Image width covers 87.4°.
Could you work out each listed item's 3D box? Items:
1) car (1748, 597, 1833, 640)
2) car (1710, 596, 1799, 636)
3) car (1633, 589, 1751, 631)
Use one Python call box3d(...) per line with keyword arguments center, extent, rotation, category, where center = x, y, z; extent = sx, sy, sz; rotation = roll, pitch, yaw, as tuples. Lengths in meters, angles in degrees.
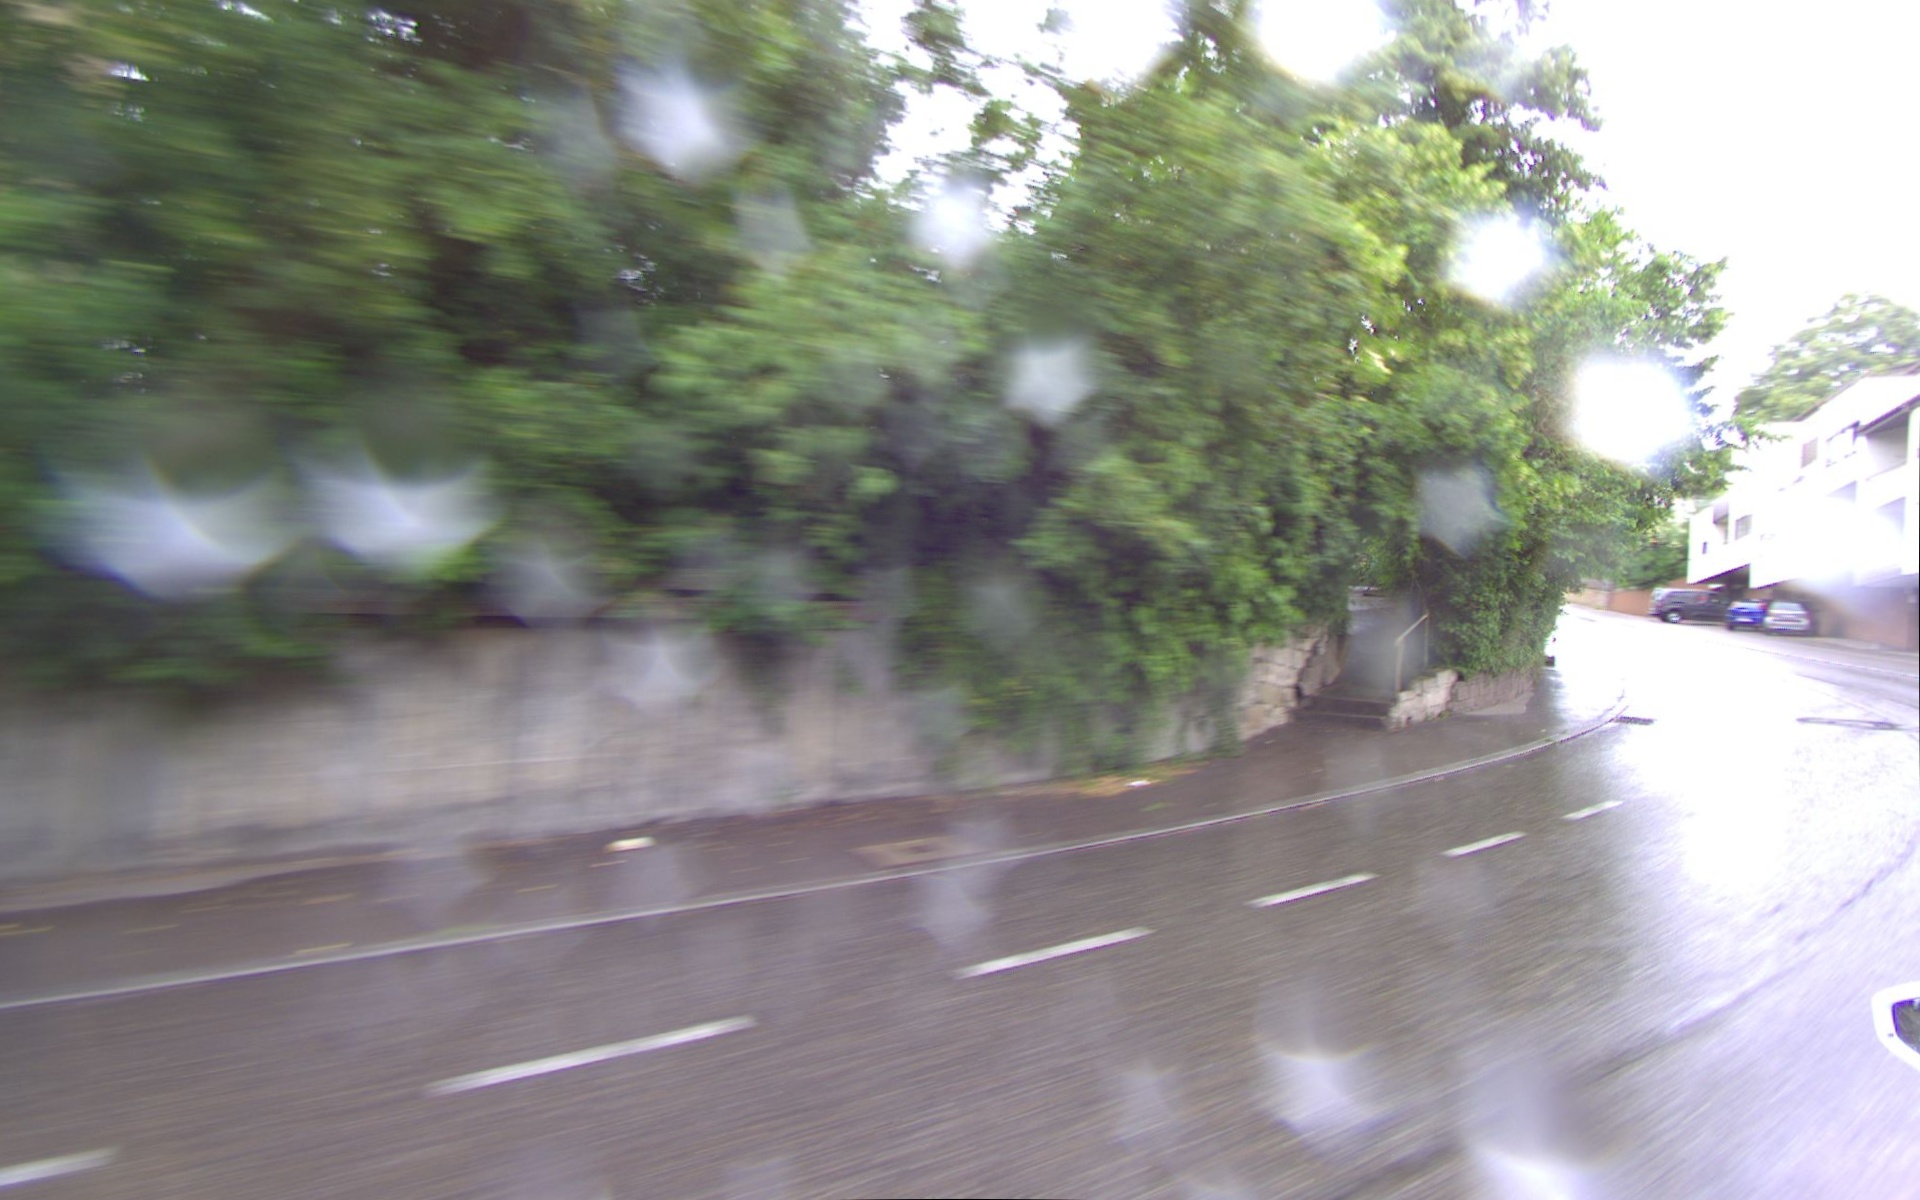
box3d(center=(36.195, 0.817, 43.750), extent=(4.027, 1.600, 1.769), rotation=(2, 5, -36), category="car")
box3d(center=(37.172, 0.753, 46.982), extent=(4.019, 1.600, 1.773), rotation=(2, 5, -30), category="car")
box3d(center=(39.312, 0.501, 54.100), extent=(4.631, 1.845, 1.999), rotation=(4, 4, 22), category="car")
